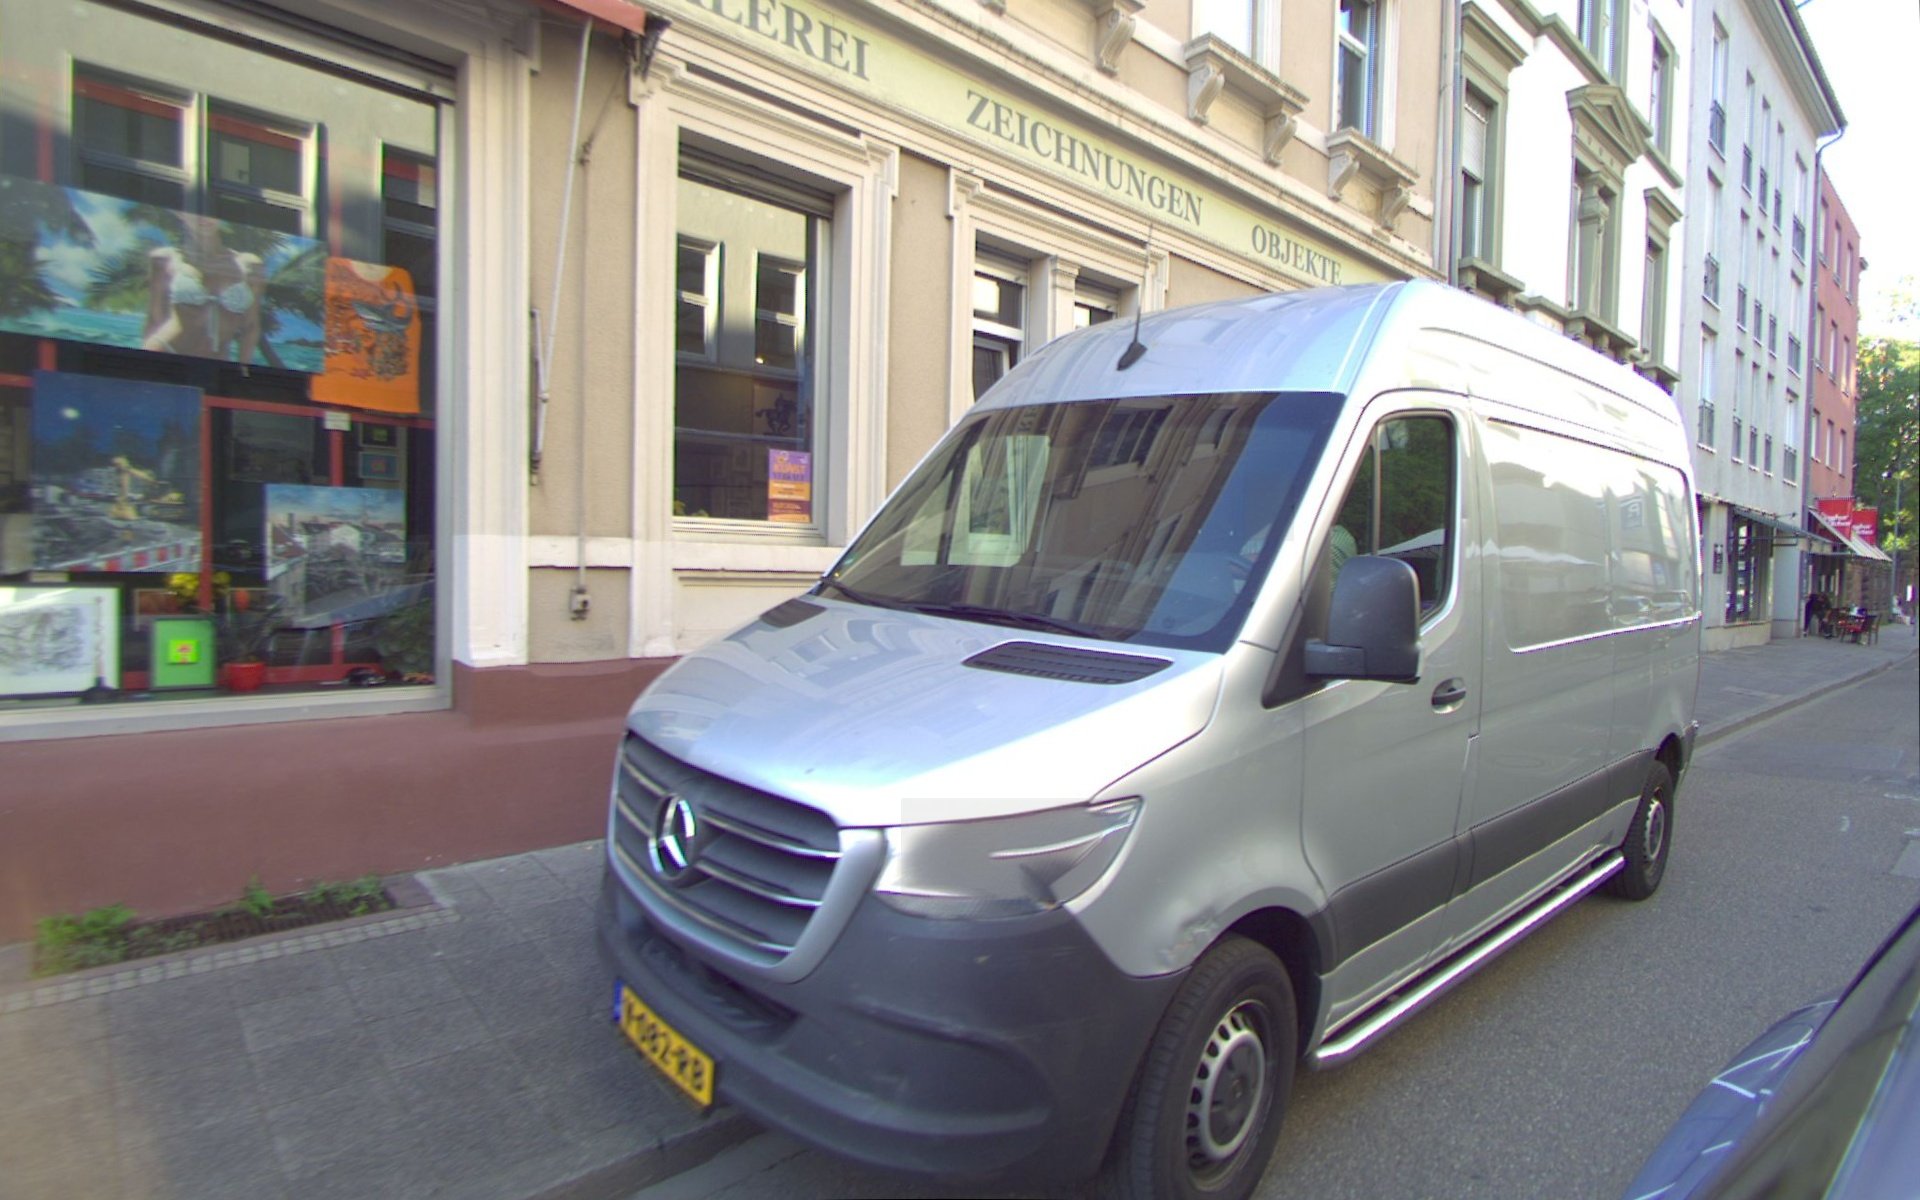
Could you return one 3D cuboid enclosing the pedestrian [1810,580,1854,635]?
[{"bbox_3d":[24.743,0.193,28.713,0.650,1.504,0.826,0,2,-43],"label":"pedestrian"}]

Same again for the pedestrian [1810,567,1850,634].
[{"bbox_3d":[24.499,-0.010,28.515,0.657,1.814,0.721,6,4,38],"label":"pedestrian"}]

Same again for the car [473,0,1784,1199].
[{"bbox_3d":[1.461,0.027,4.422,6.095,2.469,2.281,0,2,-41],"label":"car"}]

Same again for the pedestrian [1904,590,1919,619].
[{"bbox_3d":[44.318,0.216,46.775,0.356,1.264,0.927,0,3,-44],"label":"pedestrian"}]
